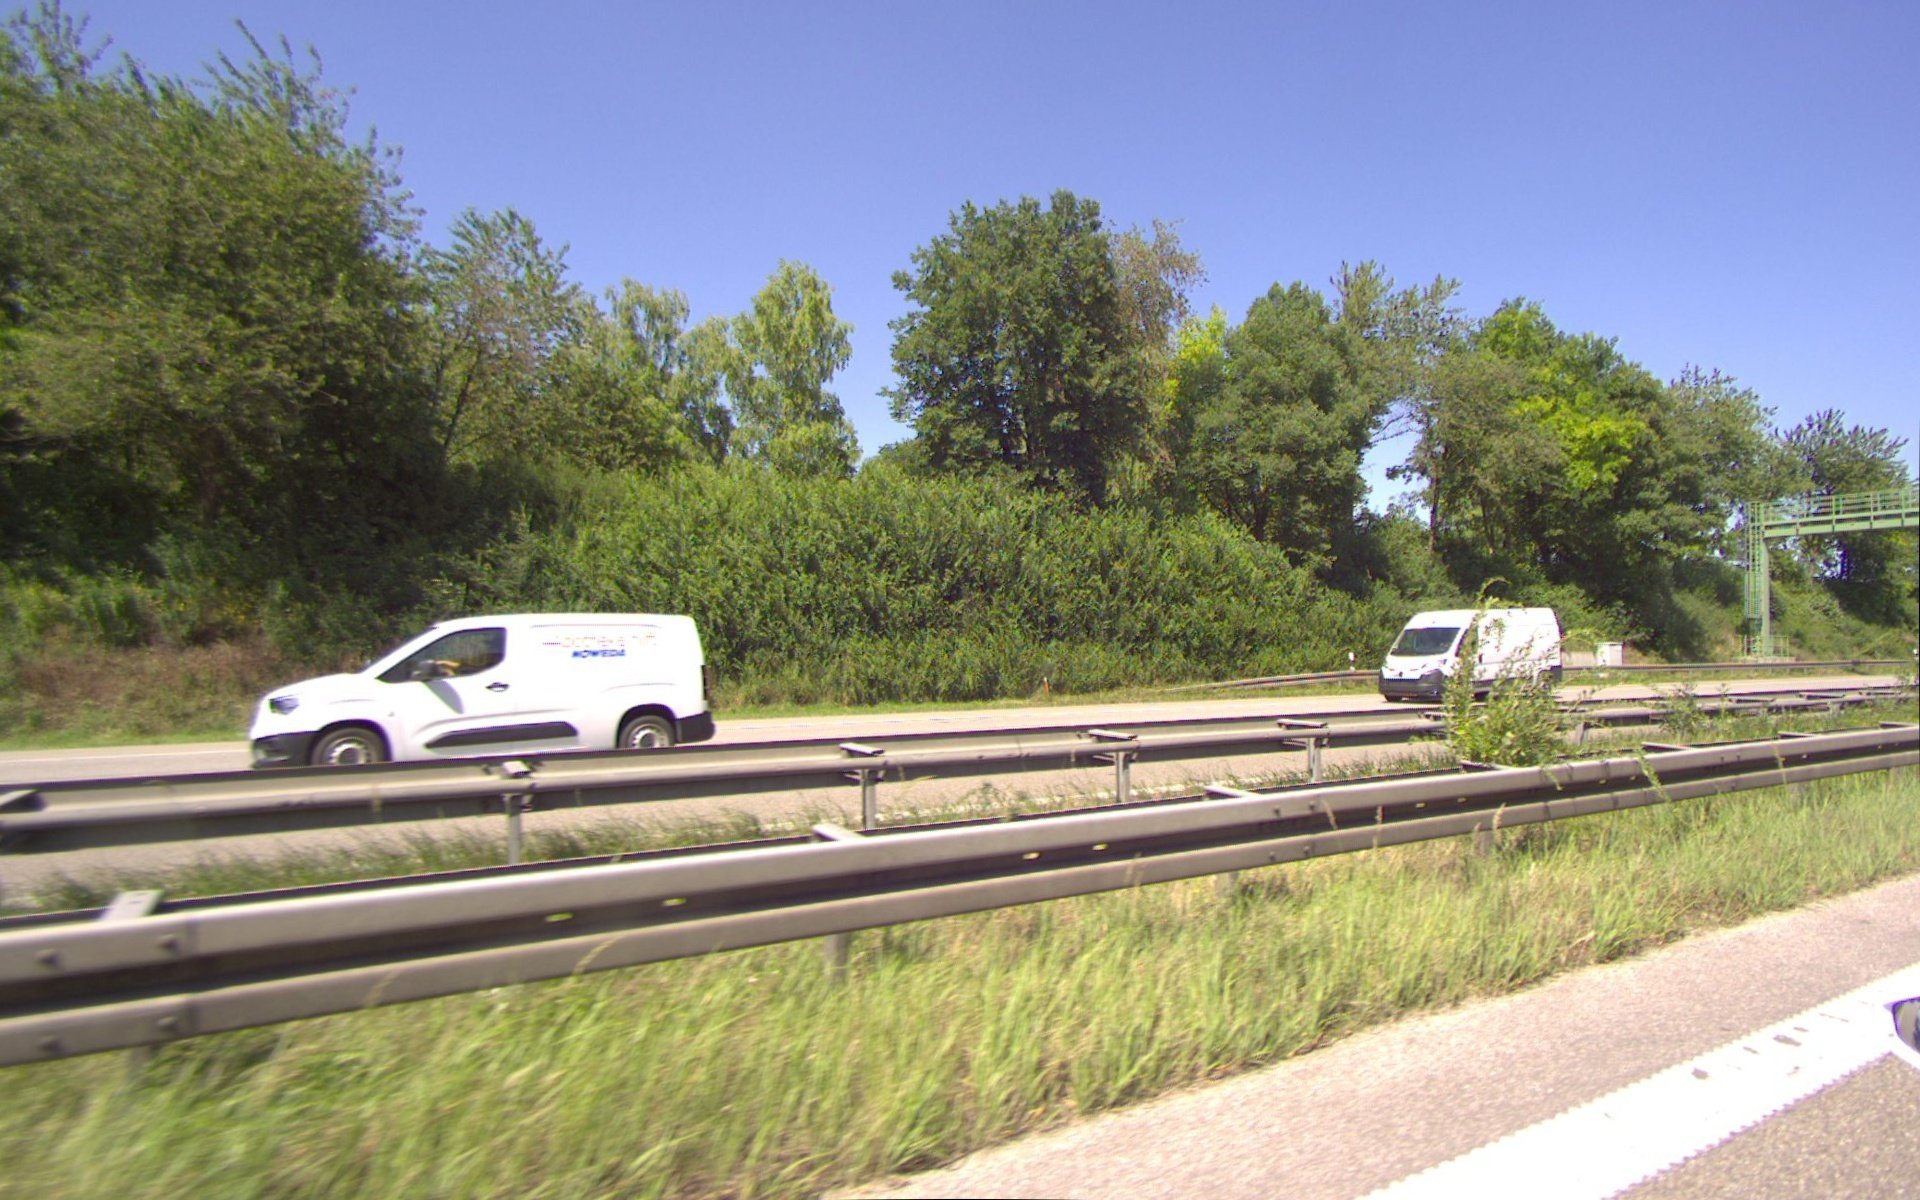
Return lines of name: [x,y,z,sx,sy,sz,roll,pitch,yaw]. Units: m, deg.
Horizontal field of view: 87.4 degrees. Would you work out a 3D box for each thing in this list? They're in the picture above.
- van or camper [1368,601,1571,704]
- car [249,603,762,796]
van or camper: [14.238,1.439,27.927,6.126,2.593,2.028,1,-3,-31]
car: [-5.034,1.046,11.699,5.108,1.854,1.738,1,-3,-31]
